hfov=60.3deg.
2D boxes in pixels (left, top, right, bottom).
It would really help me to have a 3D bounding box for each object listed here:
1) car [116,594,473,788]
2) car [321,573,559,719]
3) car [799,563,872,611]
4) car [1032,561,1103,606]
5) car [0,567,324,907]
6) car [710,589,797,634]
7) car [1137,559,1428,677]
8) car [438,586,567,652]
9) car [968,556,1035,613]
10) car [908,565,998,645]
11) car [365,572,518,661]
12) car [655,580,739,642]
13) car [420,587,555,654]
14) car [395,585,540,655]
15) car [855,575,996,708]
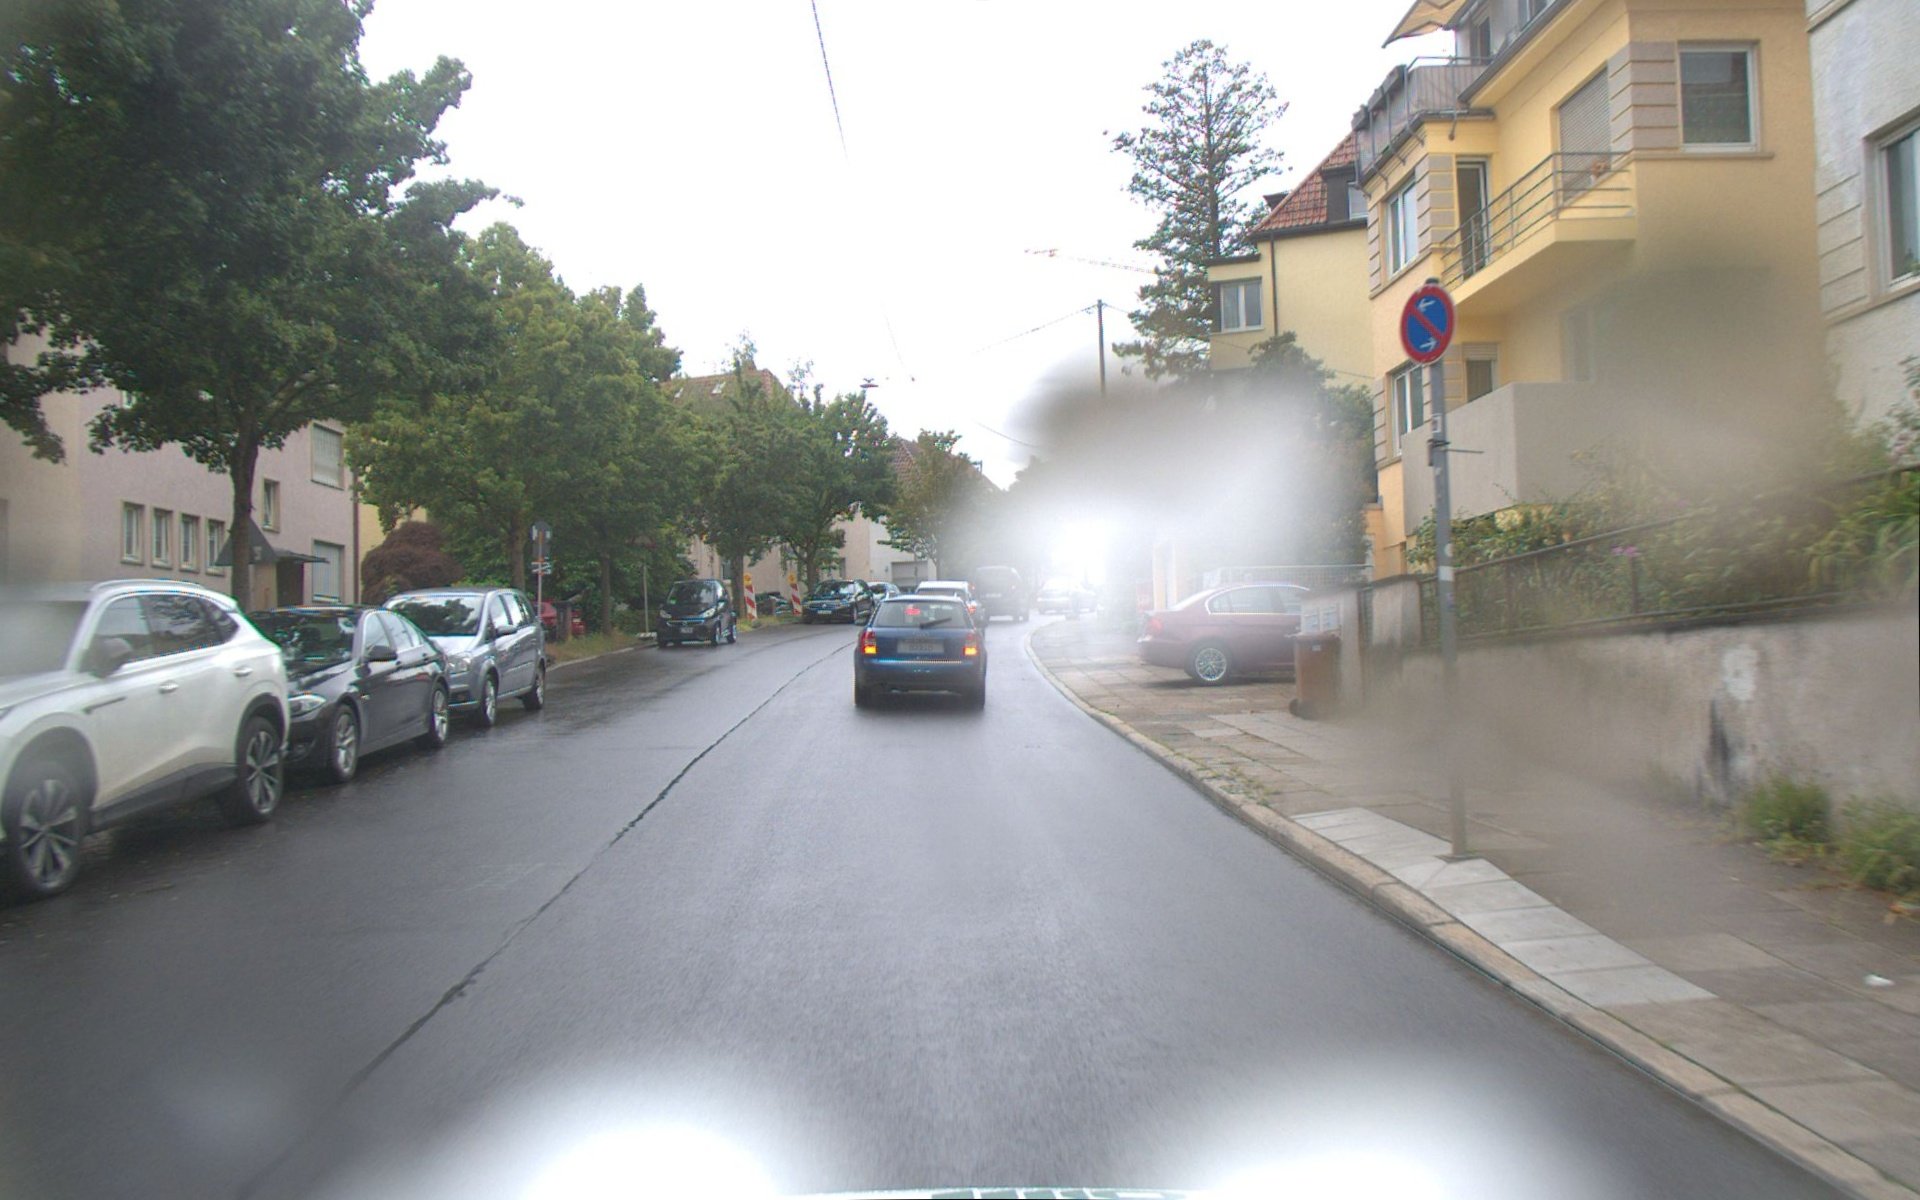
[{"bbox_3d":[-5.931,0.722,15.274,1.732,1.498,4.006,-2,0,-2],"label":"car"},{"bbox_3d":[-6.282,0.507,20.460,1.732,1.566,4.006,-2,0,-2],"label":"car"},{"bbox_3d":[-4.249,-0.476,56.991,1.697,1.492,4.004,2,2,7],"label":"car"},{"bbox_3d":[4.568,-0.731,69.635,1.698,1.799,4.235,3,2,21],"label":"car"},{"bbox_3d":[-5.569,0.691,9.871,1.732,1.655,4.689,-2,0,-1],"label":"car"},{"bbox_3d":[-8.653,0.472,69.455,3.143,1.395,1.481,-7,2,15],"label":"car"},{"bbox_3d":[4.612,0.232,24.095,3.904,1.492,1.740,-2,2,2],"label":"car"},{"bbox_3d":[-13.171,0.534,47.701,3.147,1.395,1.479,-8,2,-1],"label":"car"},{"bbox_3d":[1.460,-0.577,56.578,1.696,1.799,4.239,2,2,9],"label":"car"},{"bbox_3d":[-0.154,0.068,38.791,1.935,1.663,4.236,2,2,0],"label":"car"},{"bbox_3d":[-12.871,0.397,41.150,3.146,1.769,1.479,-7,2,-1],"label":"car"},{"bbox_3d":[-6.314,0.242,39.970,1.444,1.318,3.221,2,2,0],"label":"car"},{"bbox_3d":[-12.971,0.544,45.482,3.146,1.395,1.479,-7,2,-1],"label":"car"},{"bbox_3d":[-12.842,0.505,43.234,3.146,1.395,1.683,-7,2,-1],"label":"car"},{"bbox_3d":[-0.491,0.484,22.392,1.698,1.492,3.999,2,2,-2],"label":"car"}]
